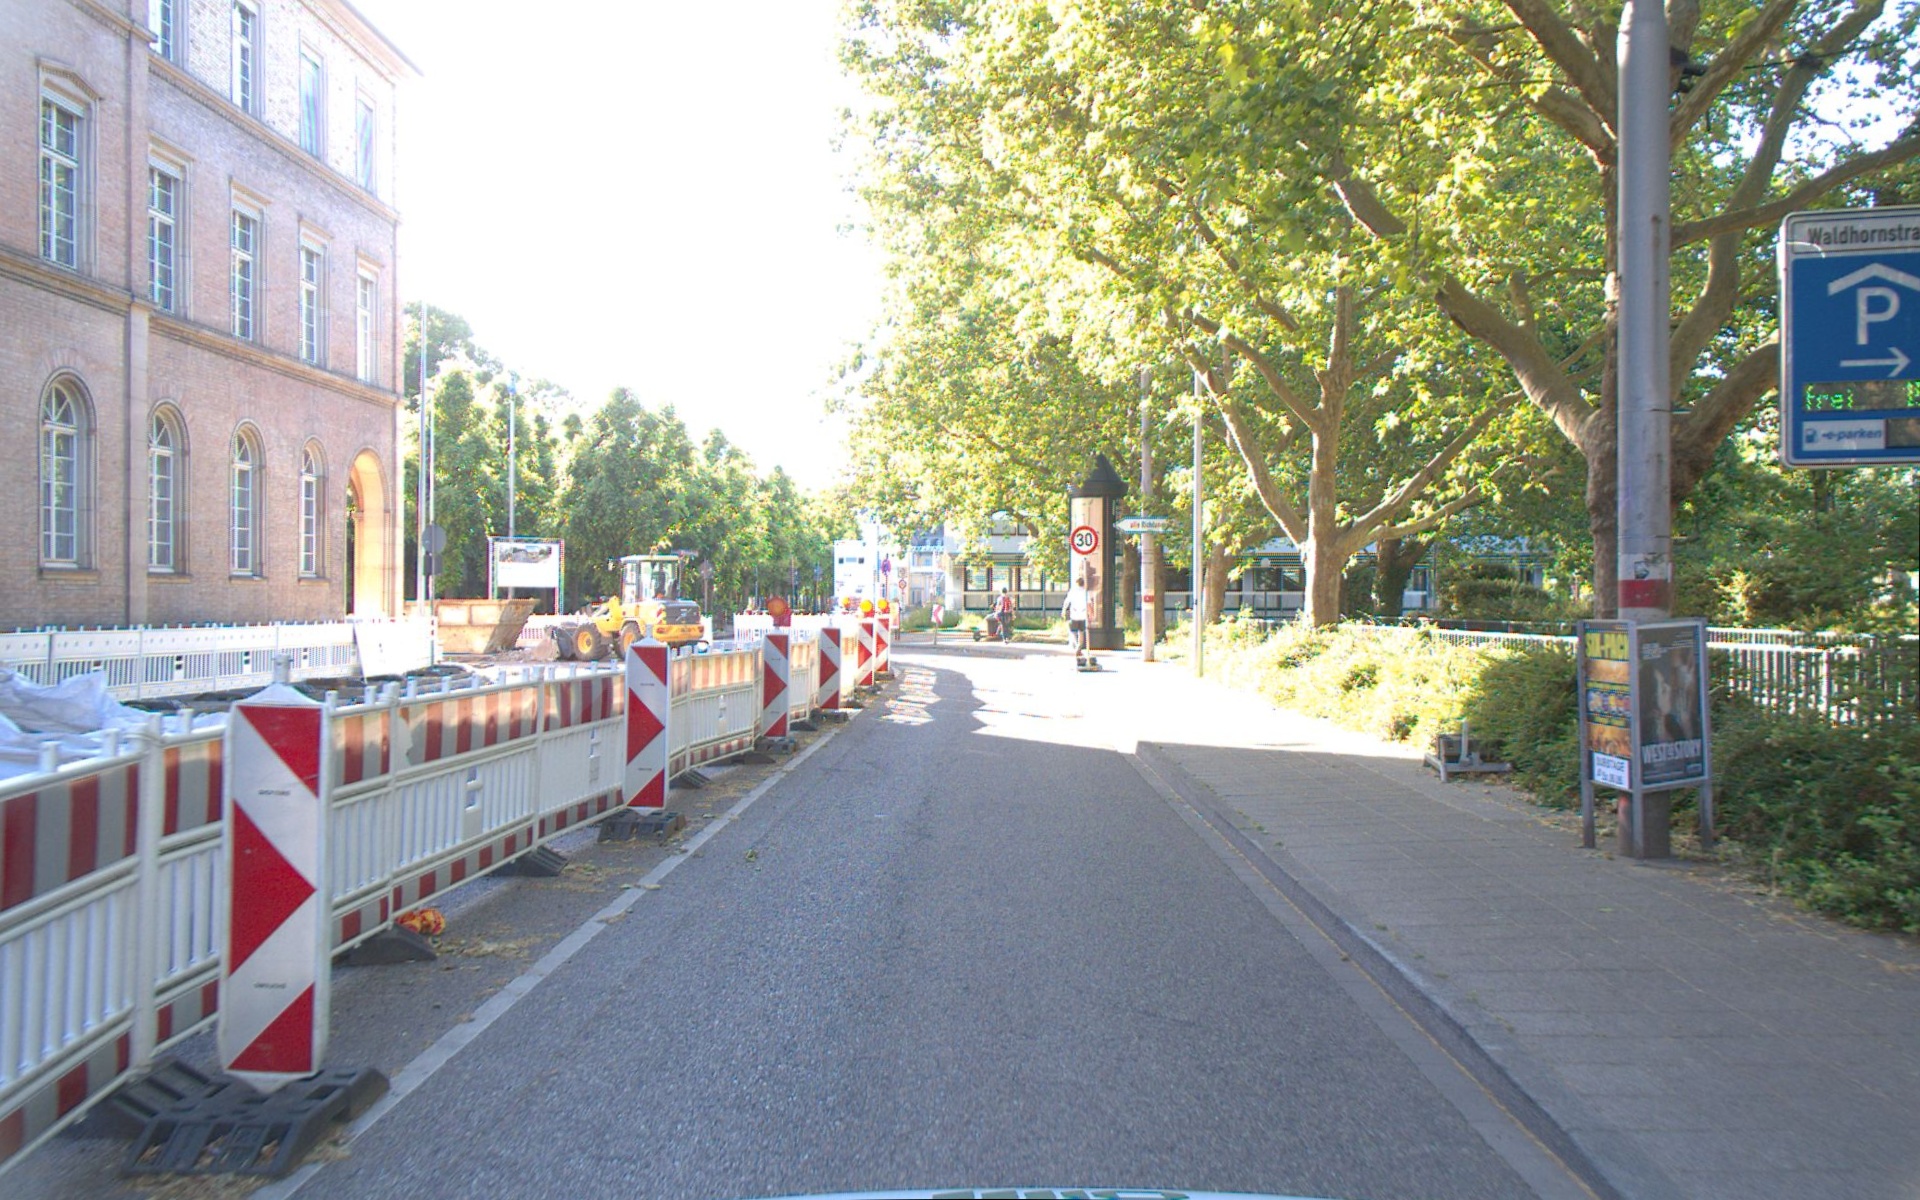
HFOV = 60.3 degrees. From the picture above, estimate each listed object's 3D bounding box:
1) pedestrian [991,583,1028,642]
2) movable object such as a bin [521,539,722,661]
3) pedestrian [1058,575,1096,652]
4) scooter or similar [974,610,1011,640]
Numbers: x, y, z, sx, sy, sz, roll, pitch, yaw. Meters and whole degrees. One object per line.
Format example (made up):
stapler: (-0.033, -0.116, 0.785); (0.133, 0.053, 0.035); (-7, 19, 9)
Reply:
pedestrian: (1.424, 0.361, 47.506); (0.701, 1.652, 0.929); (0, -1, -31)
movable object such as a bin: (-9.274, 0.013, 44.946); (5.832, 3.084, 2.549); (-1, 0, 45)
pedestrian: (2.853, 0.328, 40.358); (0.730, 1.845, 1.132); (1, -1, -4)
scooter or similar: (1.052, 0.799, 53.268); (1.125, 0.930, 0.419); (-2, -1, -7)
